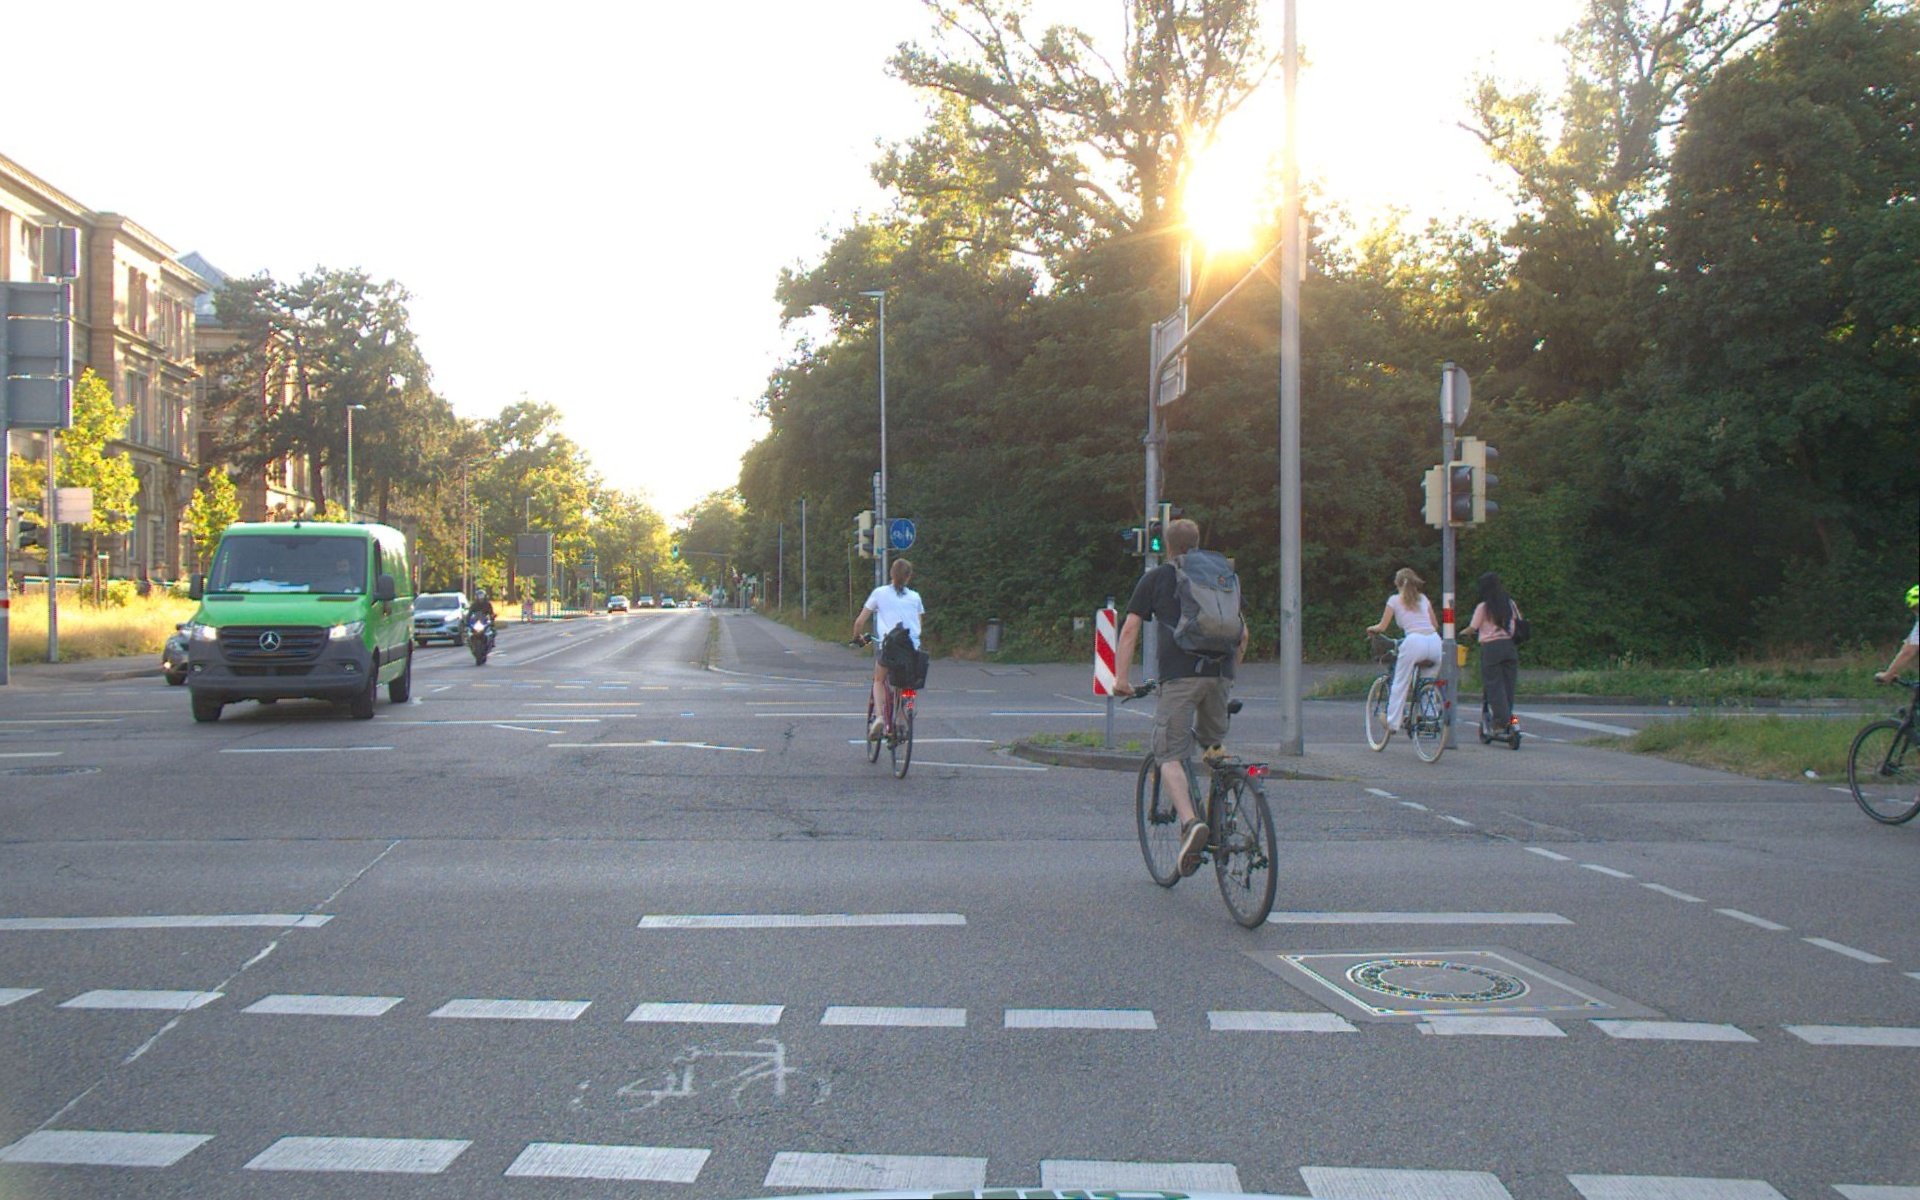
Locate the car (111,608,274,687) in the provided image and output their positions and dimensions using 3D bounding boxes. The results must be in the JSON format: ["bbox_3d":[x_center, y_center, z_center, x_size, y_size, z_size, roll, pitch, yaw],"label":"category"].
[{"bbox_3d":[-14.037,0.829,30.457,1.731,1.351,3.637,0,0,-8],"label":"car"}]

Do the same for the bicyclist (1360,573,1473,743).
[{"bbox_3d":[4.279,0.530,15.555,0.745,1.544,0.855,1,0,-8],"label":"bicyclist"}]

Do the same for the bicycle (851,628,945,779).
[{"bbox_3d":[-0.555,0.840,14.059,0.602,1.158,1.881,1,0,-8],"label":"bicycle"}]

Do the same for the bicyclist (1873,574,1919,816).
[{"bbox_3d":[6.617,0.623,10.915,0.546,1.597,0.893,0,0,-21],"label":"bicyclist"}]

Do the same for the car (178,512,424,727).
[{"bbox_3d":[-8.125,0.208,20.962,2.004,2.318,5.921,0,0,-13],"label":"car"}]

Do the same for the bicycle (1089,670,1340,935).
[{"bbox_3d":[1.195,0.926,8.173,0.686,1.081,1.821,1,0,-9],"label":"bicycle"}]

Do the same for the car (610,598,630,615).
[{"bbox_3d":[-30.201,0.564,146.793,1.739,1.500,3.765,0,0,-12],"label":"car"}]

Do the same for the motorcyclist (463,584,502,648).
[{"bbox_3d":[-10.536,0.349,36.523,0.735,1.382,0.702,0,-1,-8],"label":"motorcyclist"}]

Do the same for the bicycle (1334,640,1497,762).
[{"bbox_3d":[4.265,0.918,15.651,0.756,1.024,2.013,1,0,-8],"label":"bicycle"}]

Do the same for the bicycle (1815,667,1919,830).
[{"bbox_3d":[6.609,0.998,10.939,0.555,1.032,1.791,0,0,-20],"label":"bicycle"}]

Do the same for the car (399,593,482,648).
[{"bbox_3d":[-16.418,0.608,52.477,1.731,1.664,4.505,0,0,-7],"label":"car"}]

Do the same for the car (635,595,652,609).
[{"bbox_3d":[-36.513,0.244,190.769,1.958,1.668,3.989,0,0,-11],"label":"car"}]

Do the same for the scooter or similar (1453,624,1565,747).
[{"bbox_3d":[5.632,0.855,17.046,0.551,1.210,1.420,0,-1,-7],"label":"scooter or similar"}]

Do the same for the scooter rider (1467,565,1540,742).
[{"bbox_3d":[5.627,0.548,17.127,0.554,1.797,0.504,0,-1,-7],"label":"scooter rider"}]

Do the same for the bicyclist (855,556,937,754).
[{"bbox_3d":[-0.554,0.454,14.033,0.592,1.613,0.908,1,0,-8],"label":"bicyclist"}]

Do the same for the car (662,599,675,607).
[{"bbox_3d":[-43.696,0.432,247.954,1.957,1.288,3.990,0,0,-10],"label":"car"}]

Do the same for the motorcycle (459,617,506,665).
[{"bbox_3d":[-10.538,0.893,36.567,0.740,1.019,1.875,0,0,-8],"label":"motorcycle"}]

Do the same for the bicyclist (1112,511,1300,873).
[{"bbox_3d":[1.198,0.437,8.188,0.685,1.696,0.796,1,0,-10],"label":"bicyclist"}]
